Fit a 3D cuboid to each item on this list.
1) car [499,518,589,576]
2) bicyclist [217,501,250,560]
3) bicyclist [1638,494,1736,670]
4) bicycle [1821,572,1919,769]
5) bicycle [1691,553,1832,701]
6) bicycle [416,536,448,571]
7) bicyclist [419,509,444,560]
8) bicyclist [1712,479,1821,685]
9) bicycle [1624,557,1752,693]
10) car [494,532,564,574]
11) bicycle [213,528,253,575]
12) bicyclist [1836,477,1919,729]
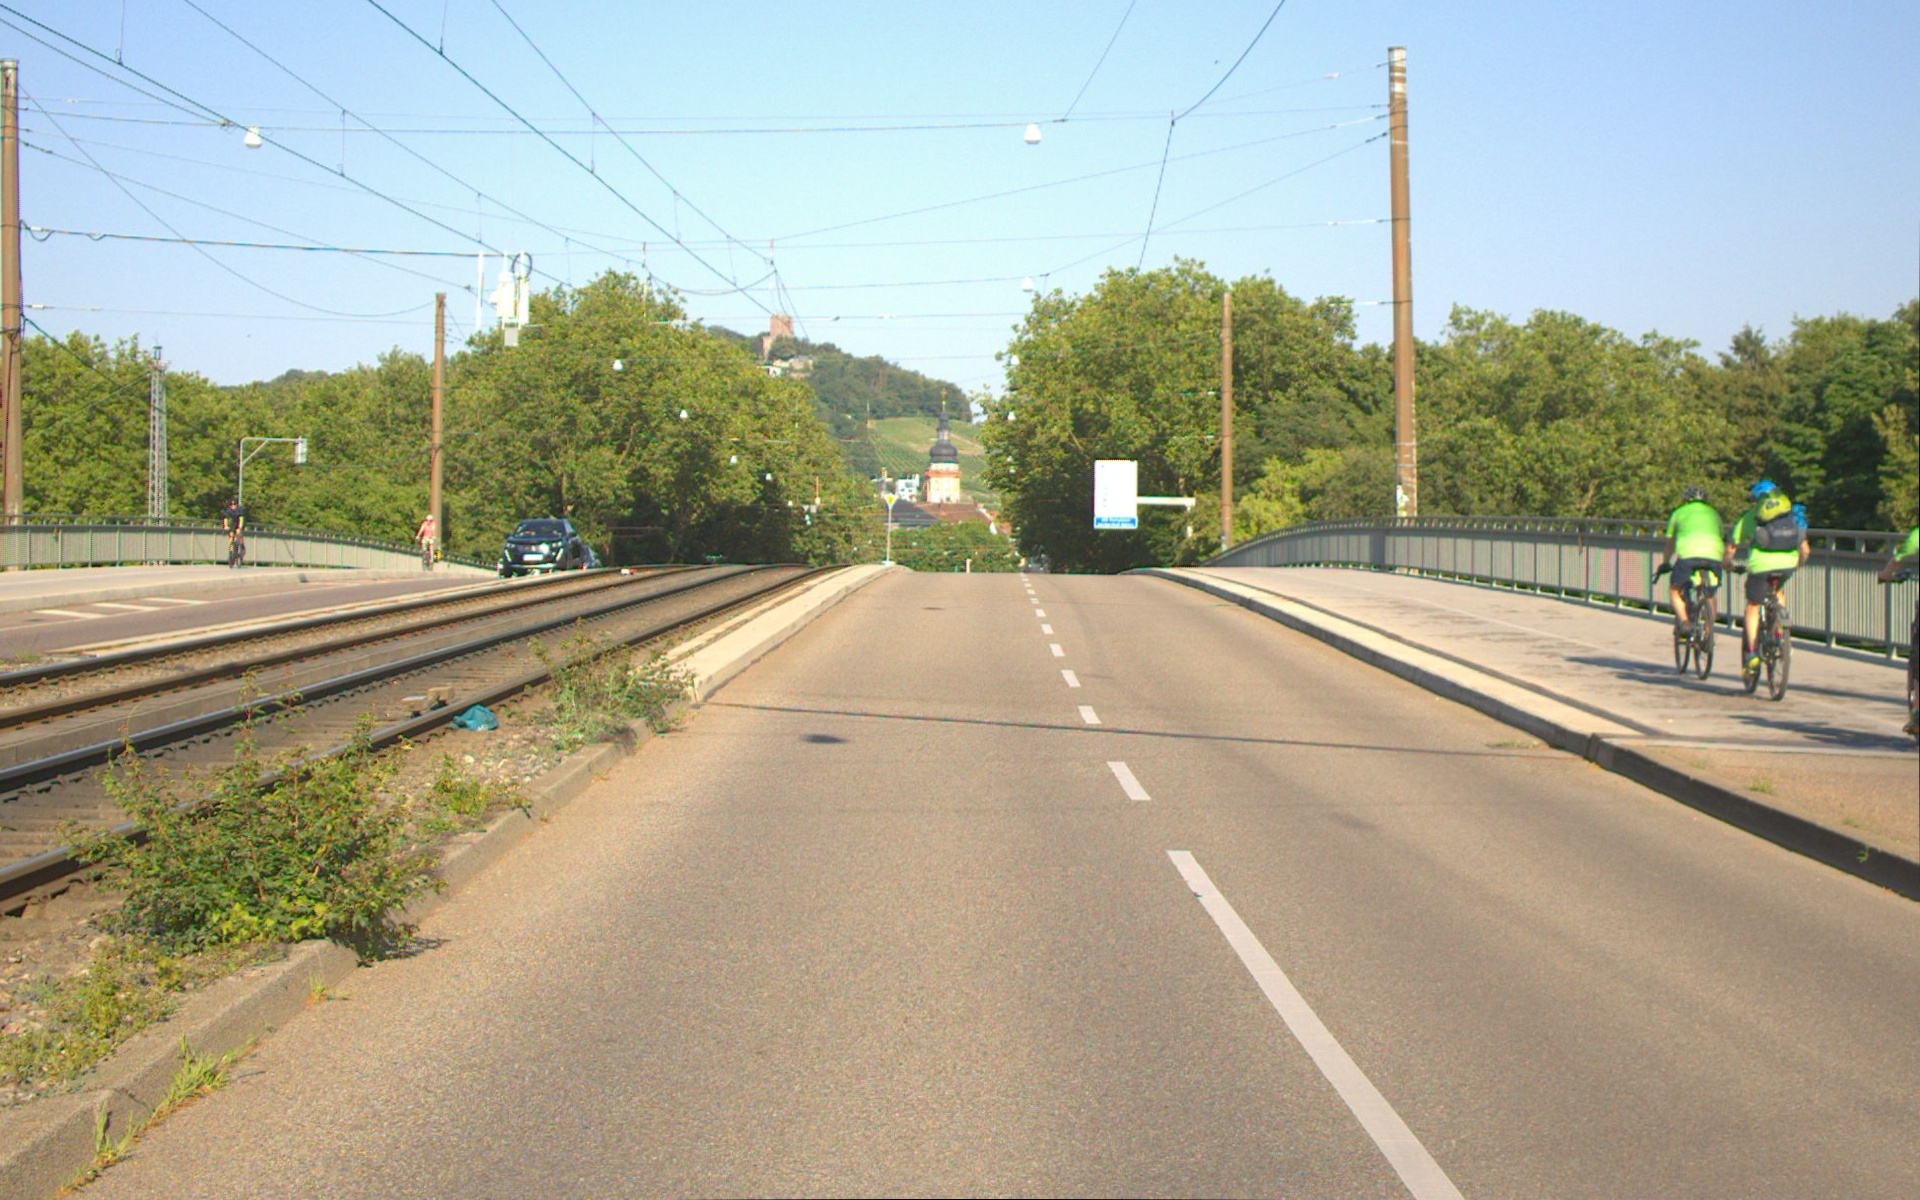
[{"bbox_3d":[-11.041,-1.408,91.488,1.849,1.497,4.219,1,1,0],"label":"car"},{"bbox_3d":[-17.954,-1.710,84.969,0.625,1.427,0.969,1,1,-3],"label":"bicyclist"},{"bbox_3d":[6.351,-0.164,30.084,0.625,1.503,1.006,1,1,0],"label":"bicyclist"},{"bbox_3d":[6.065,0.418,21.711,0.683,1.118,2.216,1,2,0],"label":"bicycle"},{"bbox_3d":[6.314,0.190,27.176,0.625,1.118,2.042,1,1,0],"label":"bicycle"},{"bbox_3d":[-17.257,-1.525,112.479,0.625,1.118,2.259,1,1,2],"label":"bicycle"},{"bbox_3d":[-17.256,-2.134,112.306,0.625,1.627,0.935,1,1,2],"label":"bicyclist"},{"bbox_3d":[6.355,-0.146,27.112,0.625,1.587,0.931,1,1,0],"label":"bicyclist"},{"bbox_3d":[6.342,0.197,30.050,0.625,1.118,2.260,1,1,0],"label":"bicycle"},{"bbox_3d":[-14.388,-1.579,114.939,1.684,1.351,4.920,1,1,0],"label":"car"},{"bbox_3d":[-17.959,-1.196,84.937,0.625,1.118,2.260,1,1,-3],"label":"bicycle"},{"bbox_3d":[6.060,0.006,21.680,0.812,1.557,0.896,1,2,0],"label":"bicyclist"}]
